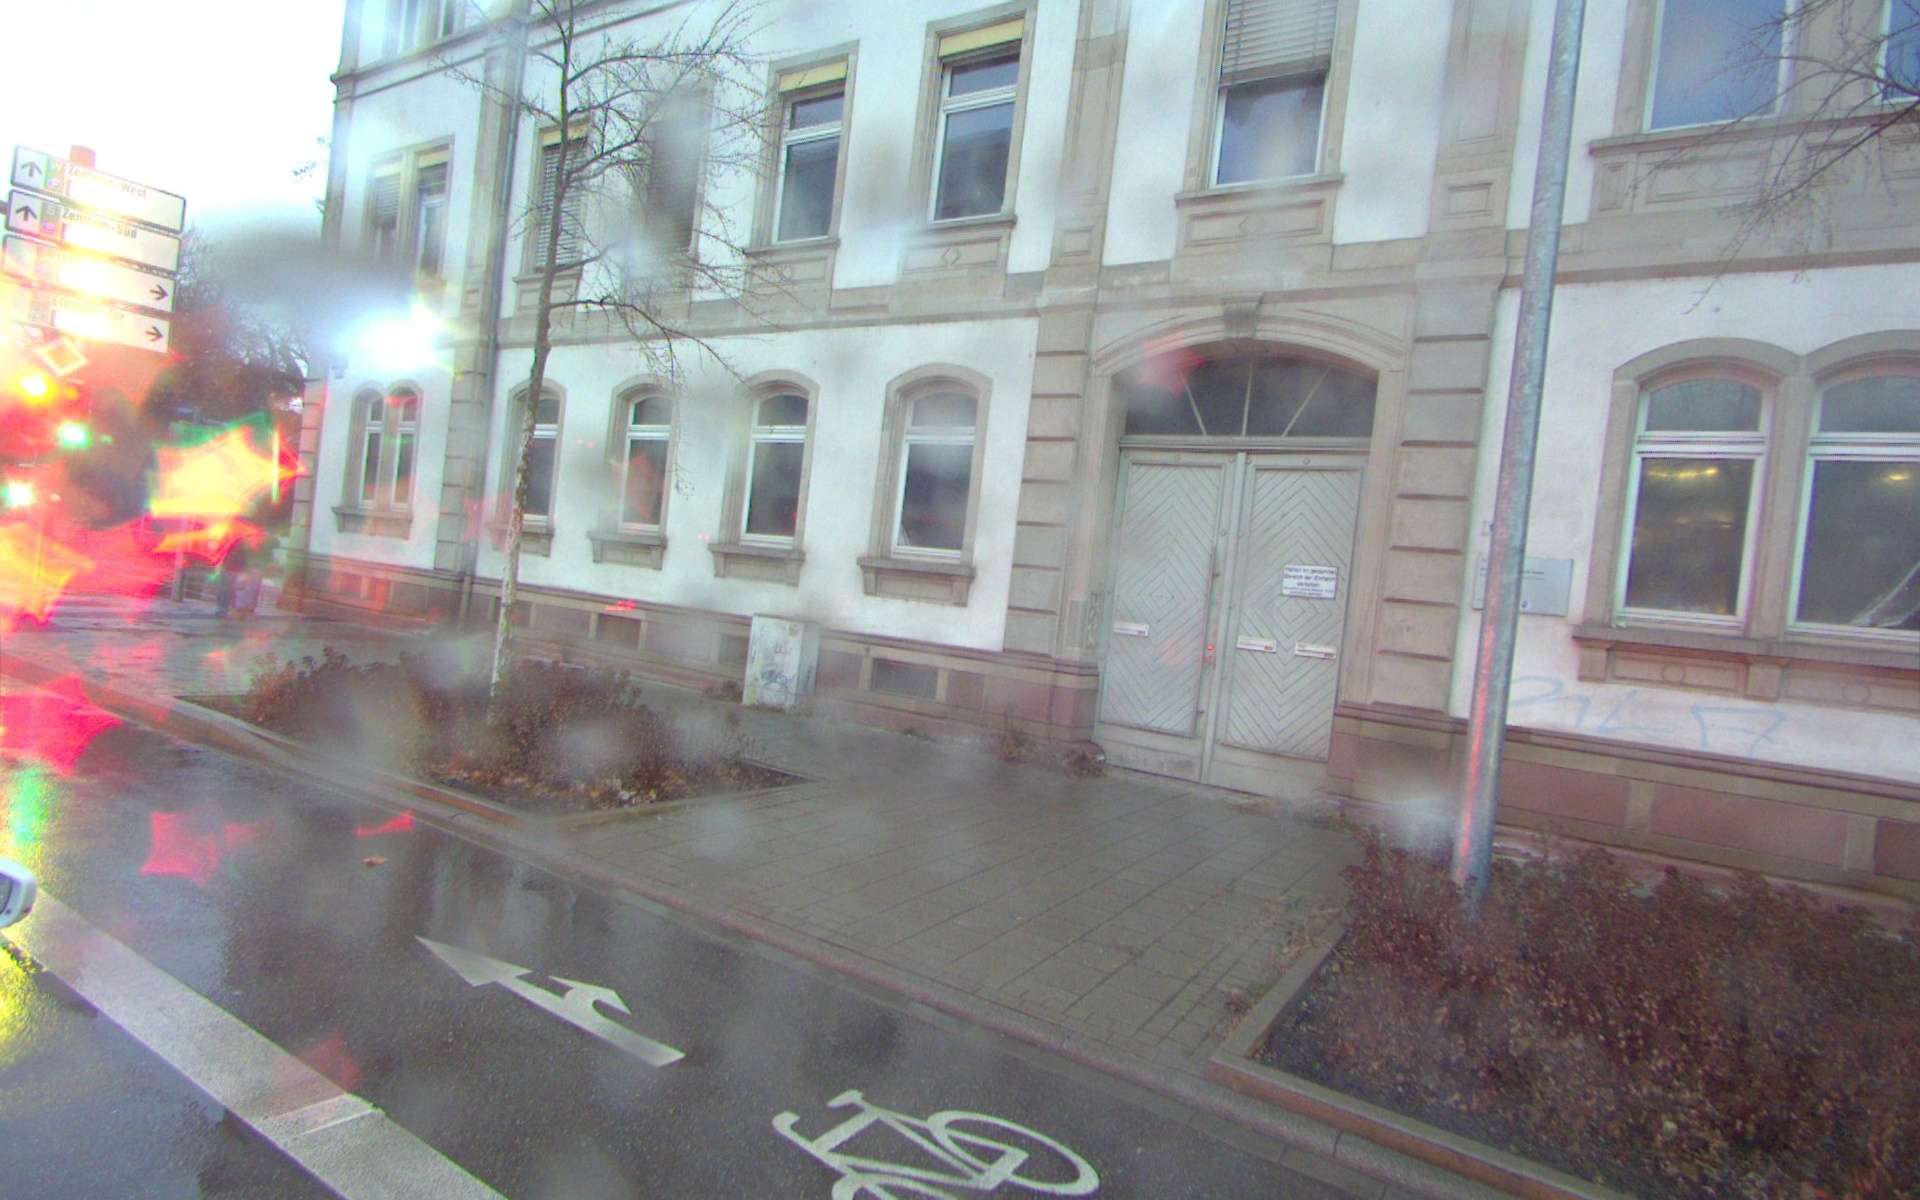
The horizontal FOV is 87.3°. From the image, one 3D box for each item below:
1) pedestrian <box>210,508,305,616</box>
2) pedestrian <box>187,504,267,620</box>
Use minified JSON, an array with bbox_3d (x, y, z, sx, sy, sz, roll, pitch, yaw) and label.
[{"bbox_3d":[-11.802,-0.633,16.902,0.994,1.651,0.783,7,-1,28],"label":"pedestrian"},{"bbox_3d":[-11.068,-0.571,15.189,0.778,1.597,1.000,8,-1,-39],"label":"pedestrian"}]
